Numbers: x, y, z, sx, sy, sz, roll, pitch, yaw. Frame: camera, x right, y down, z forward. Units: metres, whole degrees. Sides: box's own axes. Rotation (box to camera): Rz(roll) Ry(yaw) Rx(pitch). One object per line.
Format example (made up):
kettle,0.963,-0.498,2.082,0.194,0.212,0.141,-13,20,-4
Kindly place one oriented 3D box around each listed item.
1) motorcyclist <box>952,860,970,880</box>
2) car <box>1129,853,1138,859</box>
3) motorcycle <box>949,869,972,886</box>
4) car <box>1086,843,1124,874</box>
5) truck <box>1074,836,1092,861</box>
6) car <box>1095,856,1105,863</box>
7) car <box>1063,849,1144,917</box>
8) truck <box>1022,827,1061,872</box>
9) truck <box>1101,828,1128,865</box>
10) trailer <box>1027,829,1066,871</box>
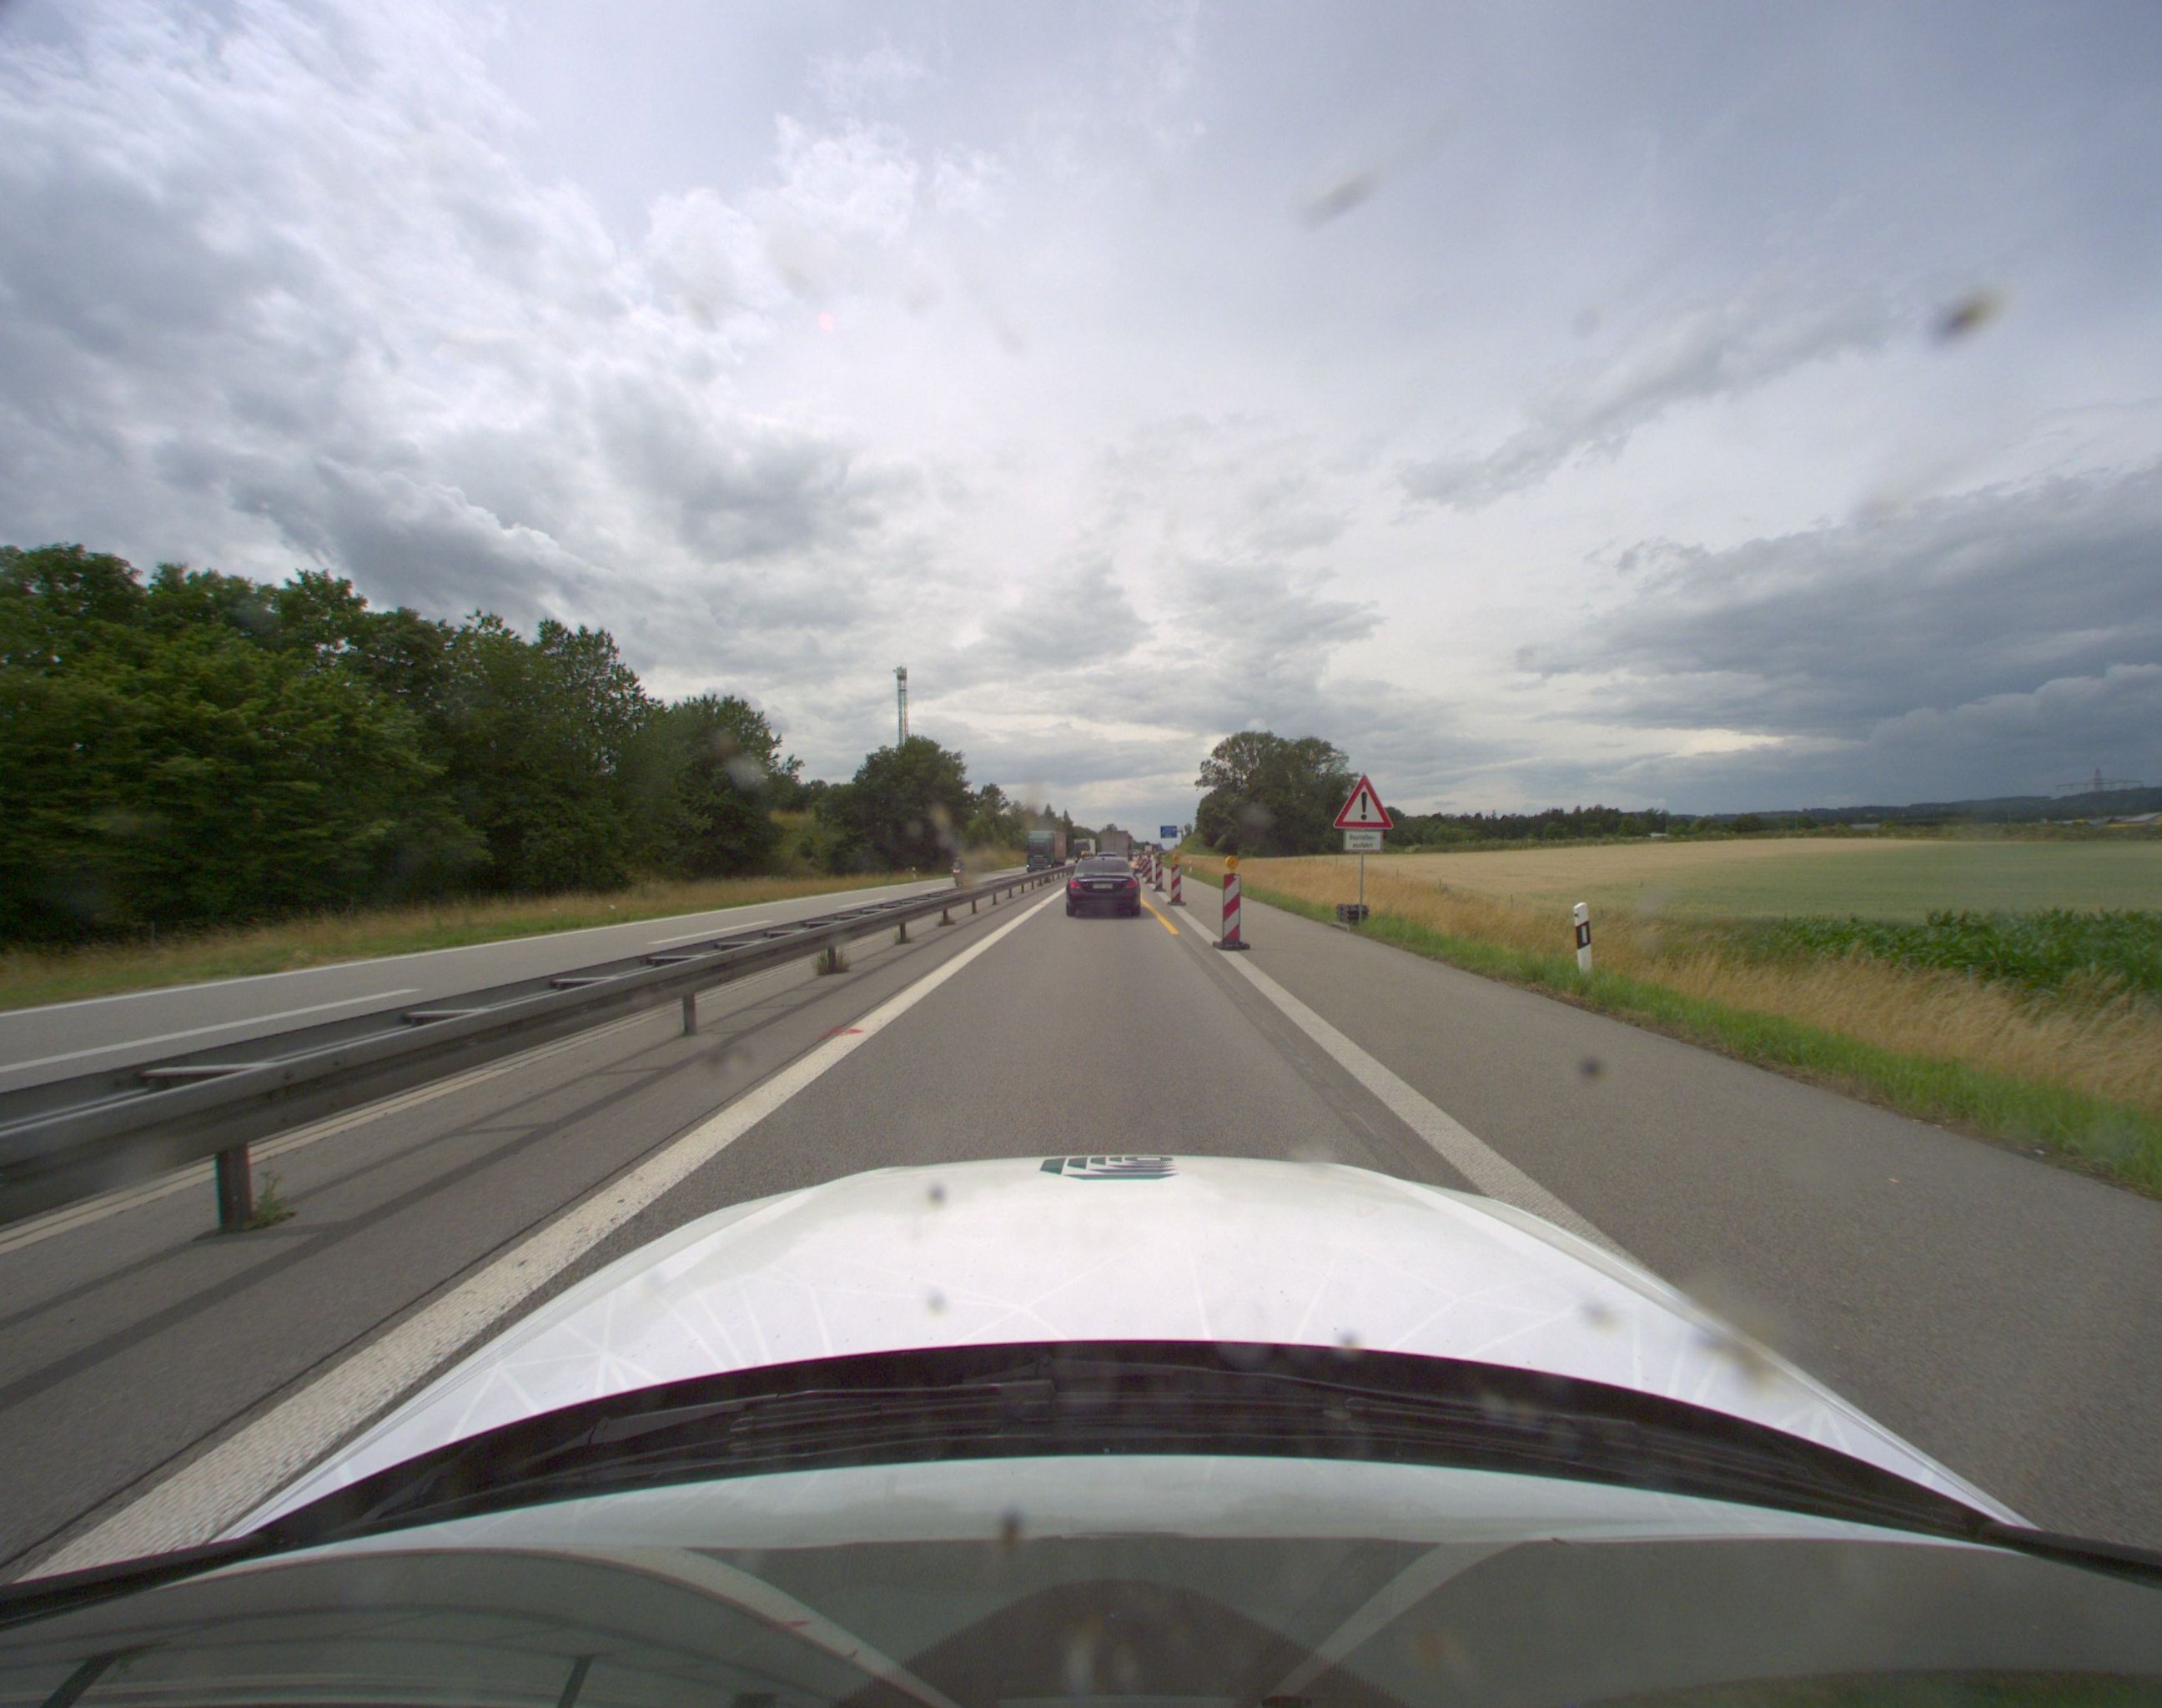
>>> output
motorcyclist,-7.046,0.940,47.913,0.858,1.209,0.961,0,-1,1
car,12.320,0.578,191.943,1.645,1.396,3.703,0,-1,-2
motorcycle,-7.056,1.384,47.892,0.852,0.934,2.725,0,0,2
car,1.559,0.306,54.018,1.991,2.014,3.990,0,-1,-7
truck,0.354,-0.852,139.706,2.628,4.170,6.992,0,-1,4
car,4.308,1.308,183.942,1.985,1.618,4.003,0,-1,3
car,0.673,0.695,20.966,1.787,1.560,4.006,0,-1,6
truck,-3.809,-0.361,80.151,3.109,4.213,6.786,0,-1,3
truck,3.248,-0.691,79.738,2.578,3.524,4.813,0,-1,1
trailer,-3.501,-0.338,86.195,3.138,4.213,11.649,0,-1,3
